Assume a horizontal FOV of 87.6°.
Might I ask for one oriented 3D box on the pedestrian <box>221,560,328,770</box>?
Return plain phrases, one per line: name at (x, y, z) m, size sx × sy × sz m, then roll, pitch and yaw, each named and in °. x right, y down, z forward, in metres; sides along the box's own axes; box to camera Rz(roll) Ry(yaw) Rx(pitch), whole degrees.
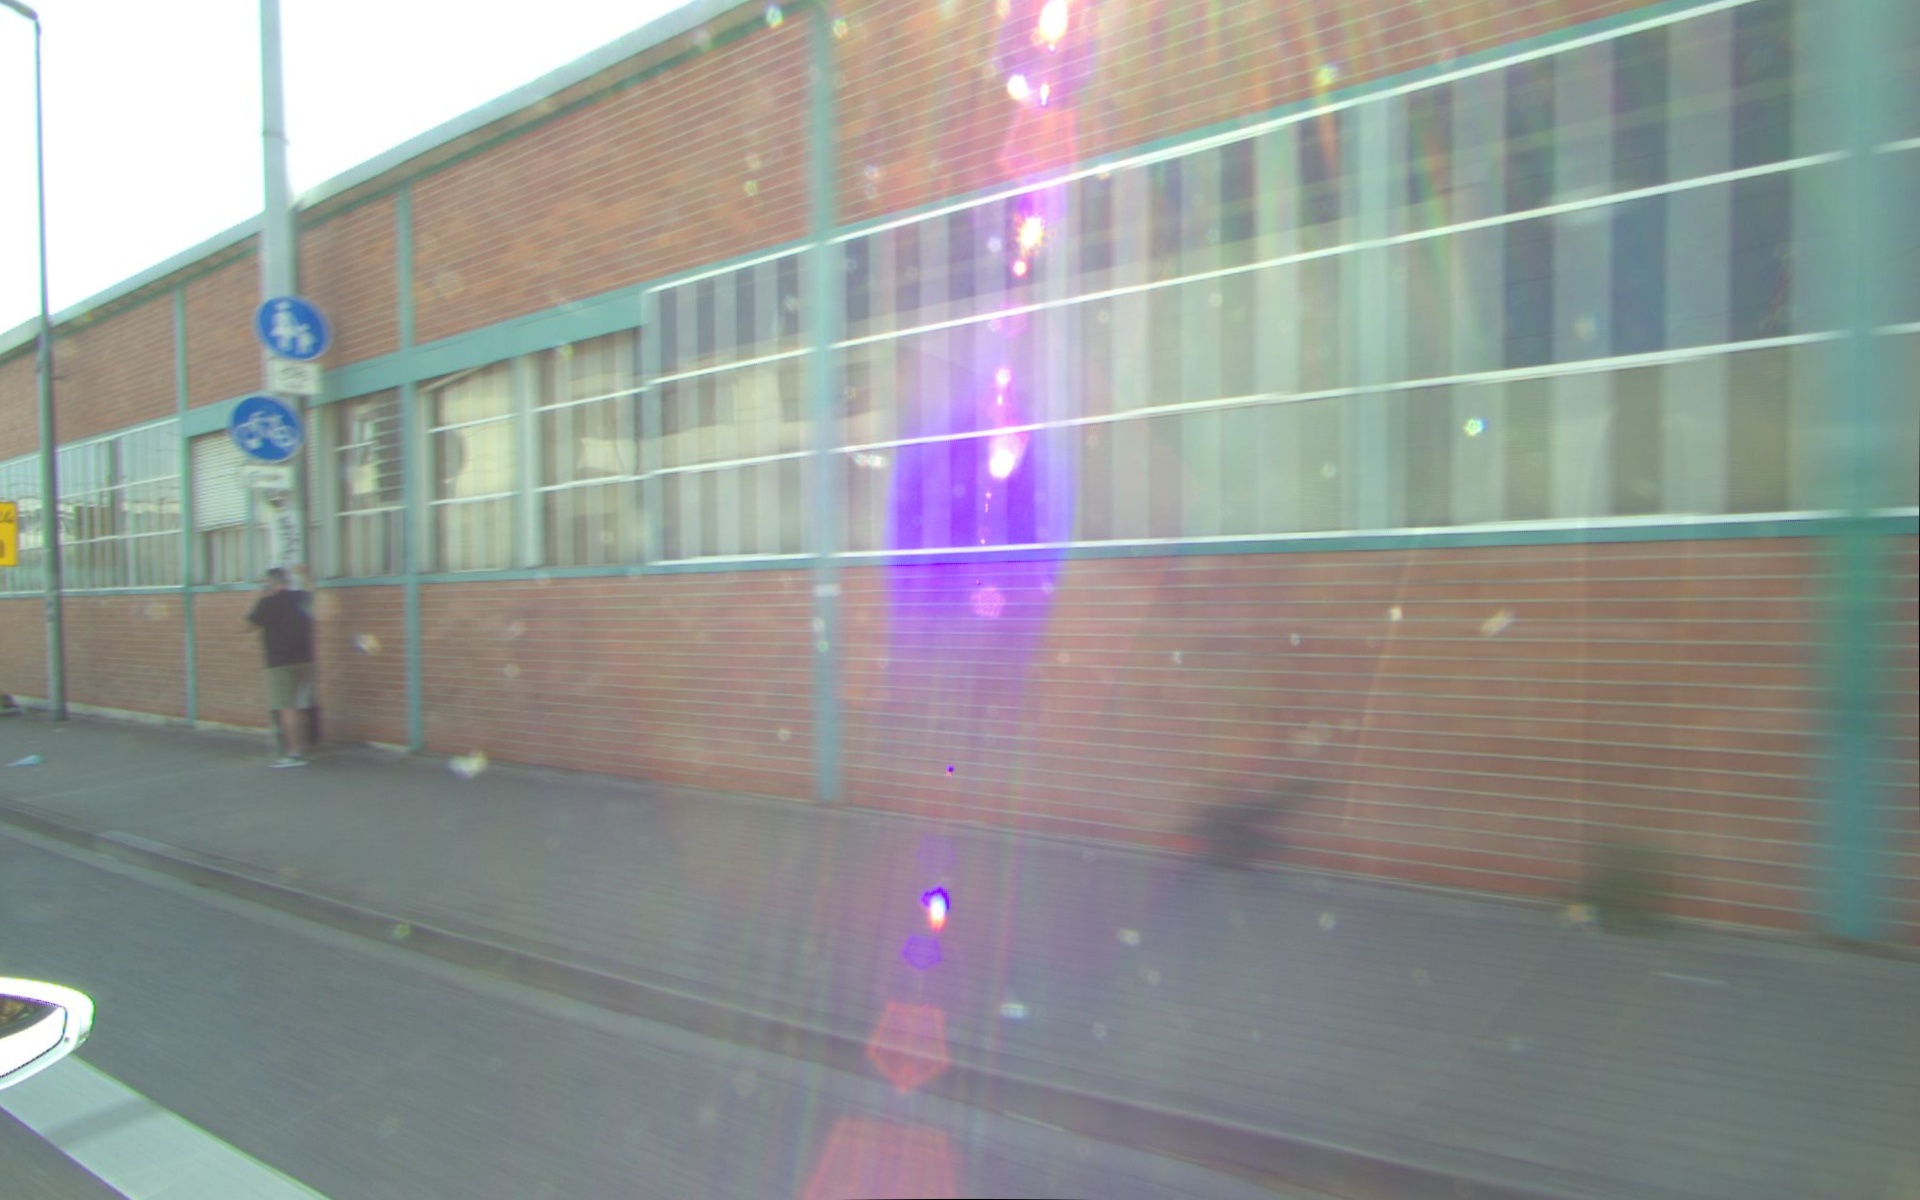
pedestrian at (-6.033, 0.560, 8.834) m, size 0.674 × 1.789 × 0.448 m, roll 1°, pitch 1°, yaw -19°
